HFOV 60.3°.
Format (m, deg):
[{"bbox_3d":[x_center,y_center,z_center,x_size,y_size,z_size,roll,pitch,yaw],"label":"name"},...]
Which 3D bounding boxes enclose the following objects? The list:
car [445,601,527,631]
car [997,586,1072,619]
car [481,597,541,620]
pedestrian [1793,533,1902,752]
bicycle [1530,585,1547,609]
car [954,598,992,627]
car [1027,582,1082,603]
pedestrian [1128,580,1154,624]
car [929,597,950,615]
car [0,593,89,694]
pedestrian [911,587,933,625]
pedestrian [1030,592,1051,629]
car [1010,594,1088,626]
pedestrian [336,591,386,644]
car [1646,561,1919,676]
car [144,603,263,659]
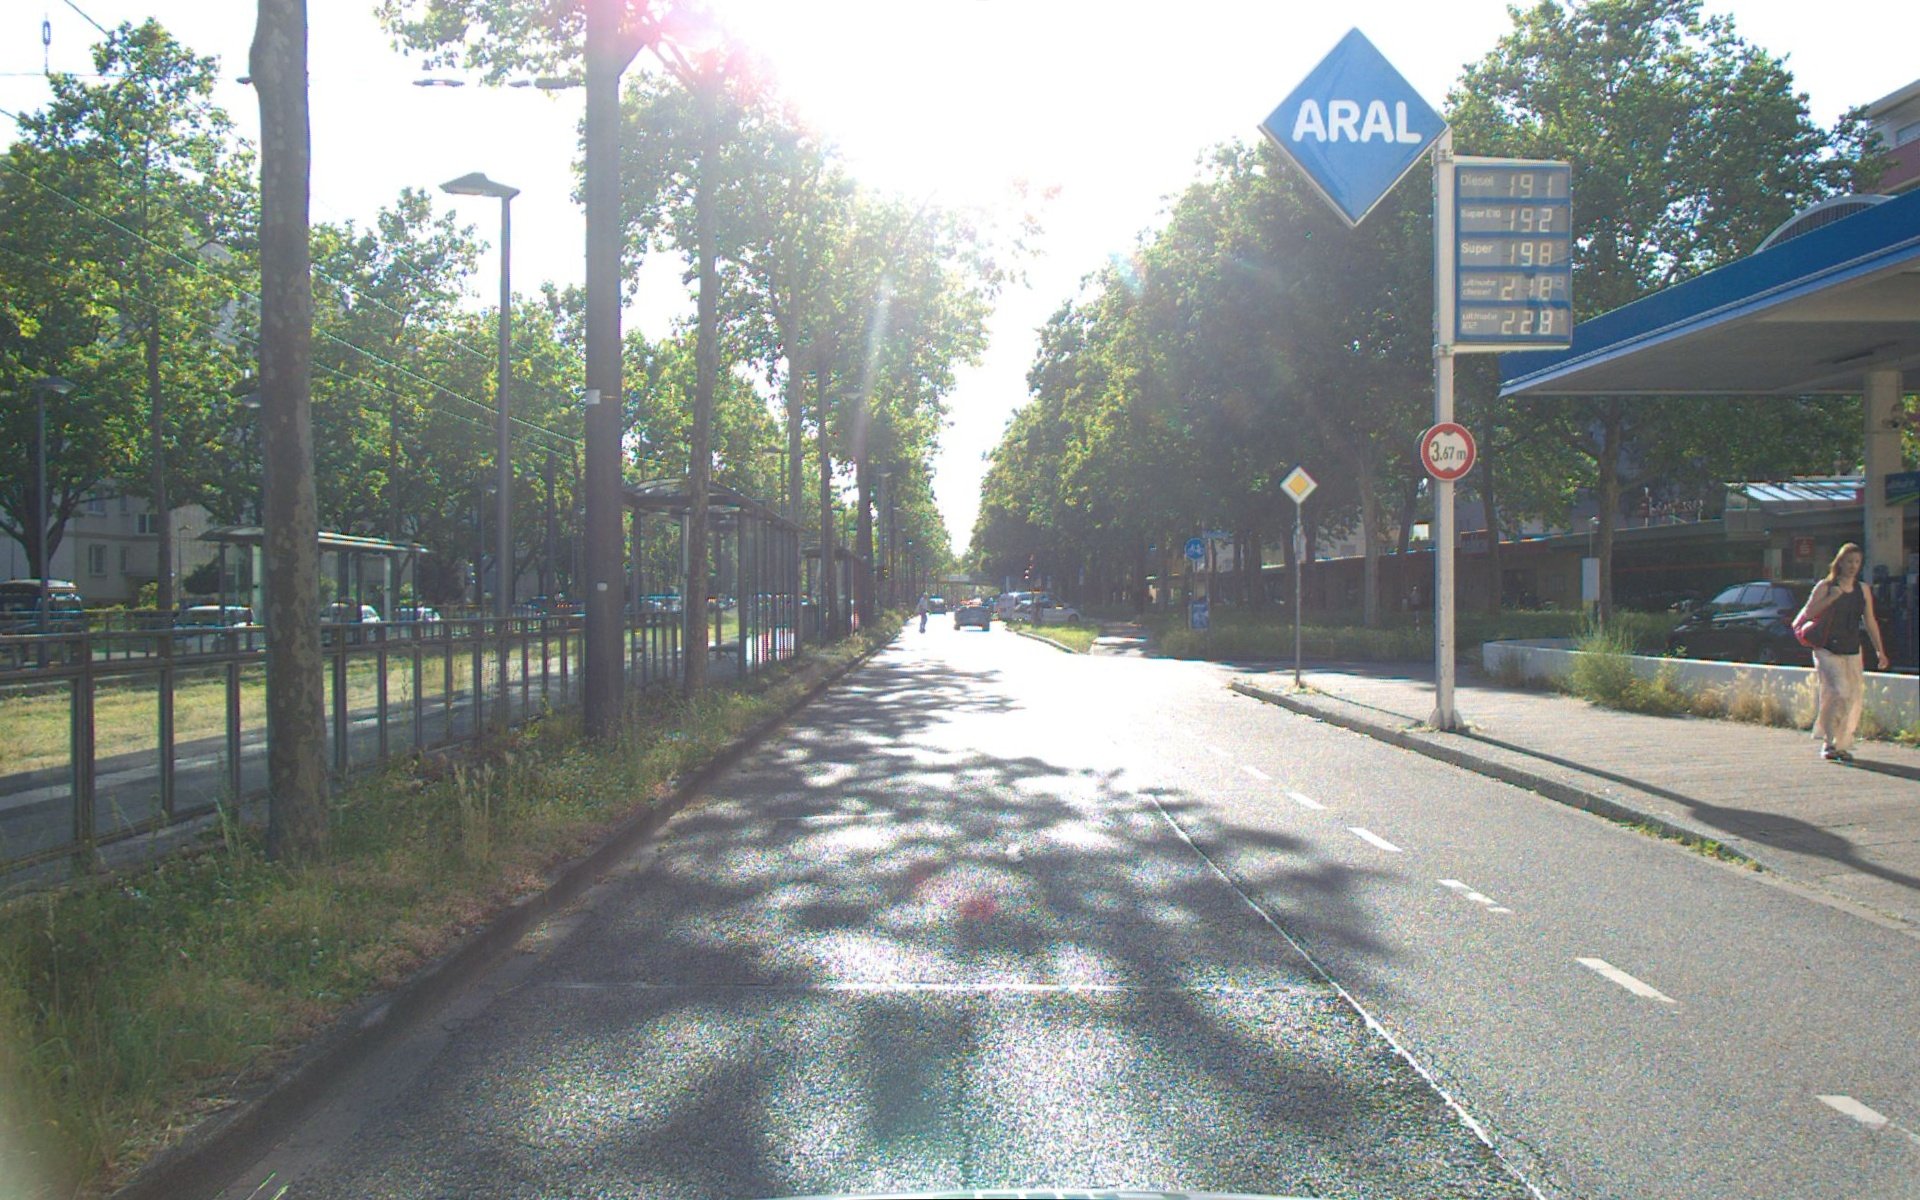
[{"bbox_3d":[-24.854,0.834,86.796,1.806,1.460,3.806,-1,0,40],"label":"car"},{"bbox_3d":[4.585,0.148,101.173,4.629,1.885,1.803,-2,0,-41],"label":"car"},{"bbox_3d":[-33.950,0.653,125.102,4.051,1.675,1.625,-1,-1,-43],"label":"car"},{"bbox_3d":[7.192,0.338,13.421,0.591,1.731,0.553,0,0,3],"label":"pedestrian"},{"bbox_3d":[29.054,-0.161,83.055,0.585,1.200,1.849,0,0,26],"label":"bicycle"},{"bbox_3d":[0.654,0.614,85.762,1.883,1.436,3.999,0,0,-1],"label":"car"},{"bbox_3d":[6.967,-0.581,121.607,4.154,1.437,1.692,-2,0,-45],"label":"car"},{"bbox_3d":[7.875,0.091,72.002,0.910,1.918,0.797,0,0,-15],"label":"pedestrian"},{"bbox_3d":[-1.868,0.567,150.601,1.811,1.562,3.866,0,0,0],"label":"car"},{"bbox_3d":[-22.869,1.011,39.883,1.679,2.301,3.932,-1,0,-1],"label":"car"},{"bbox_3d":[-1.759,0.271,76.478,0.824,1.752,0.831,-1,0,14],"label":"pedestrian"},{"bbox_3d":[3.853,0.481,79.193,0.704,1.736,0.646,-2,0,-35],"label":"pedestrian"},{"bbox_3d":[4.888,0.540,90.779,3.948,1.495,1.741,-3,1,-32],"label":"car"},{"bbox_3d":[-14.665,0.429,40.510,0.821,1.283,0.798,0,0,28],"label":"pedestrian"},{"bbox_3d":[11.873,0.232,24.115,1.687,1.489,3.999,-1,0,-7],"label":"car"},{"bbox_3d":[-22.963,0.913,50.358,1.678,1.573,3.934,-1,0,2],"label":"car"}]
